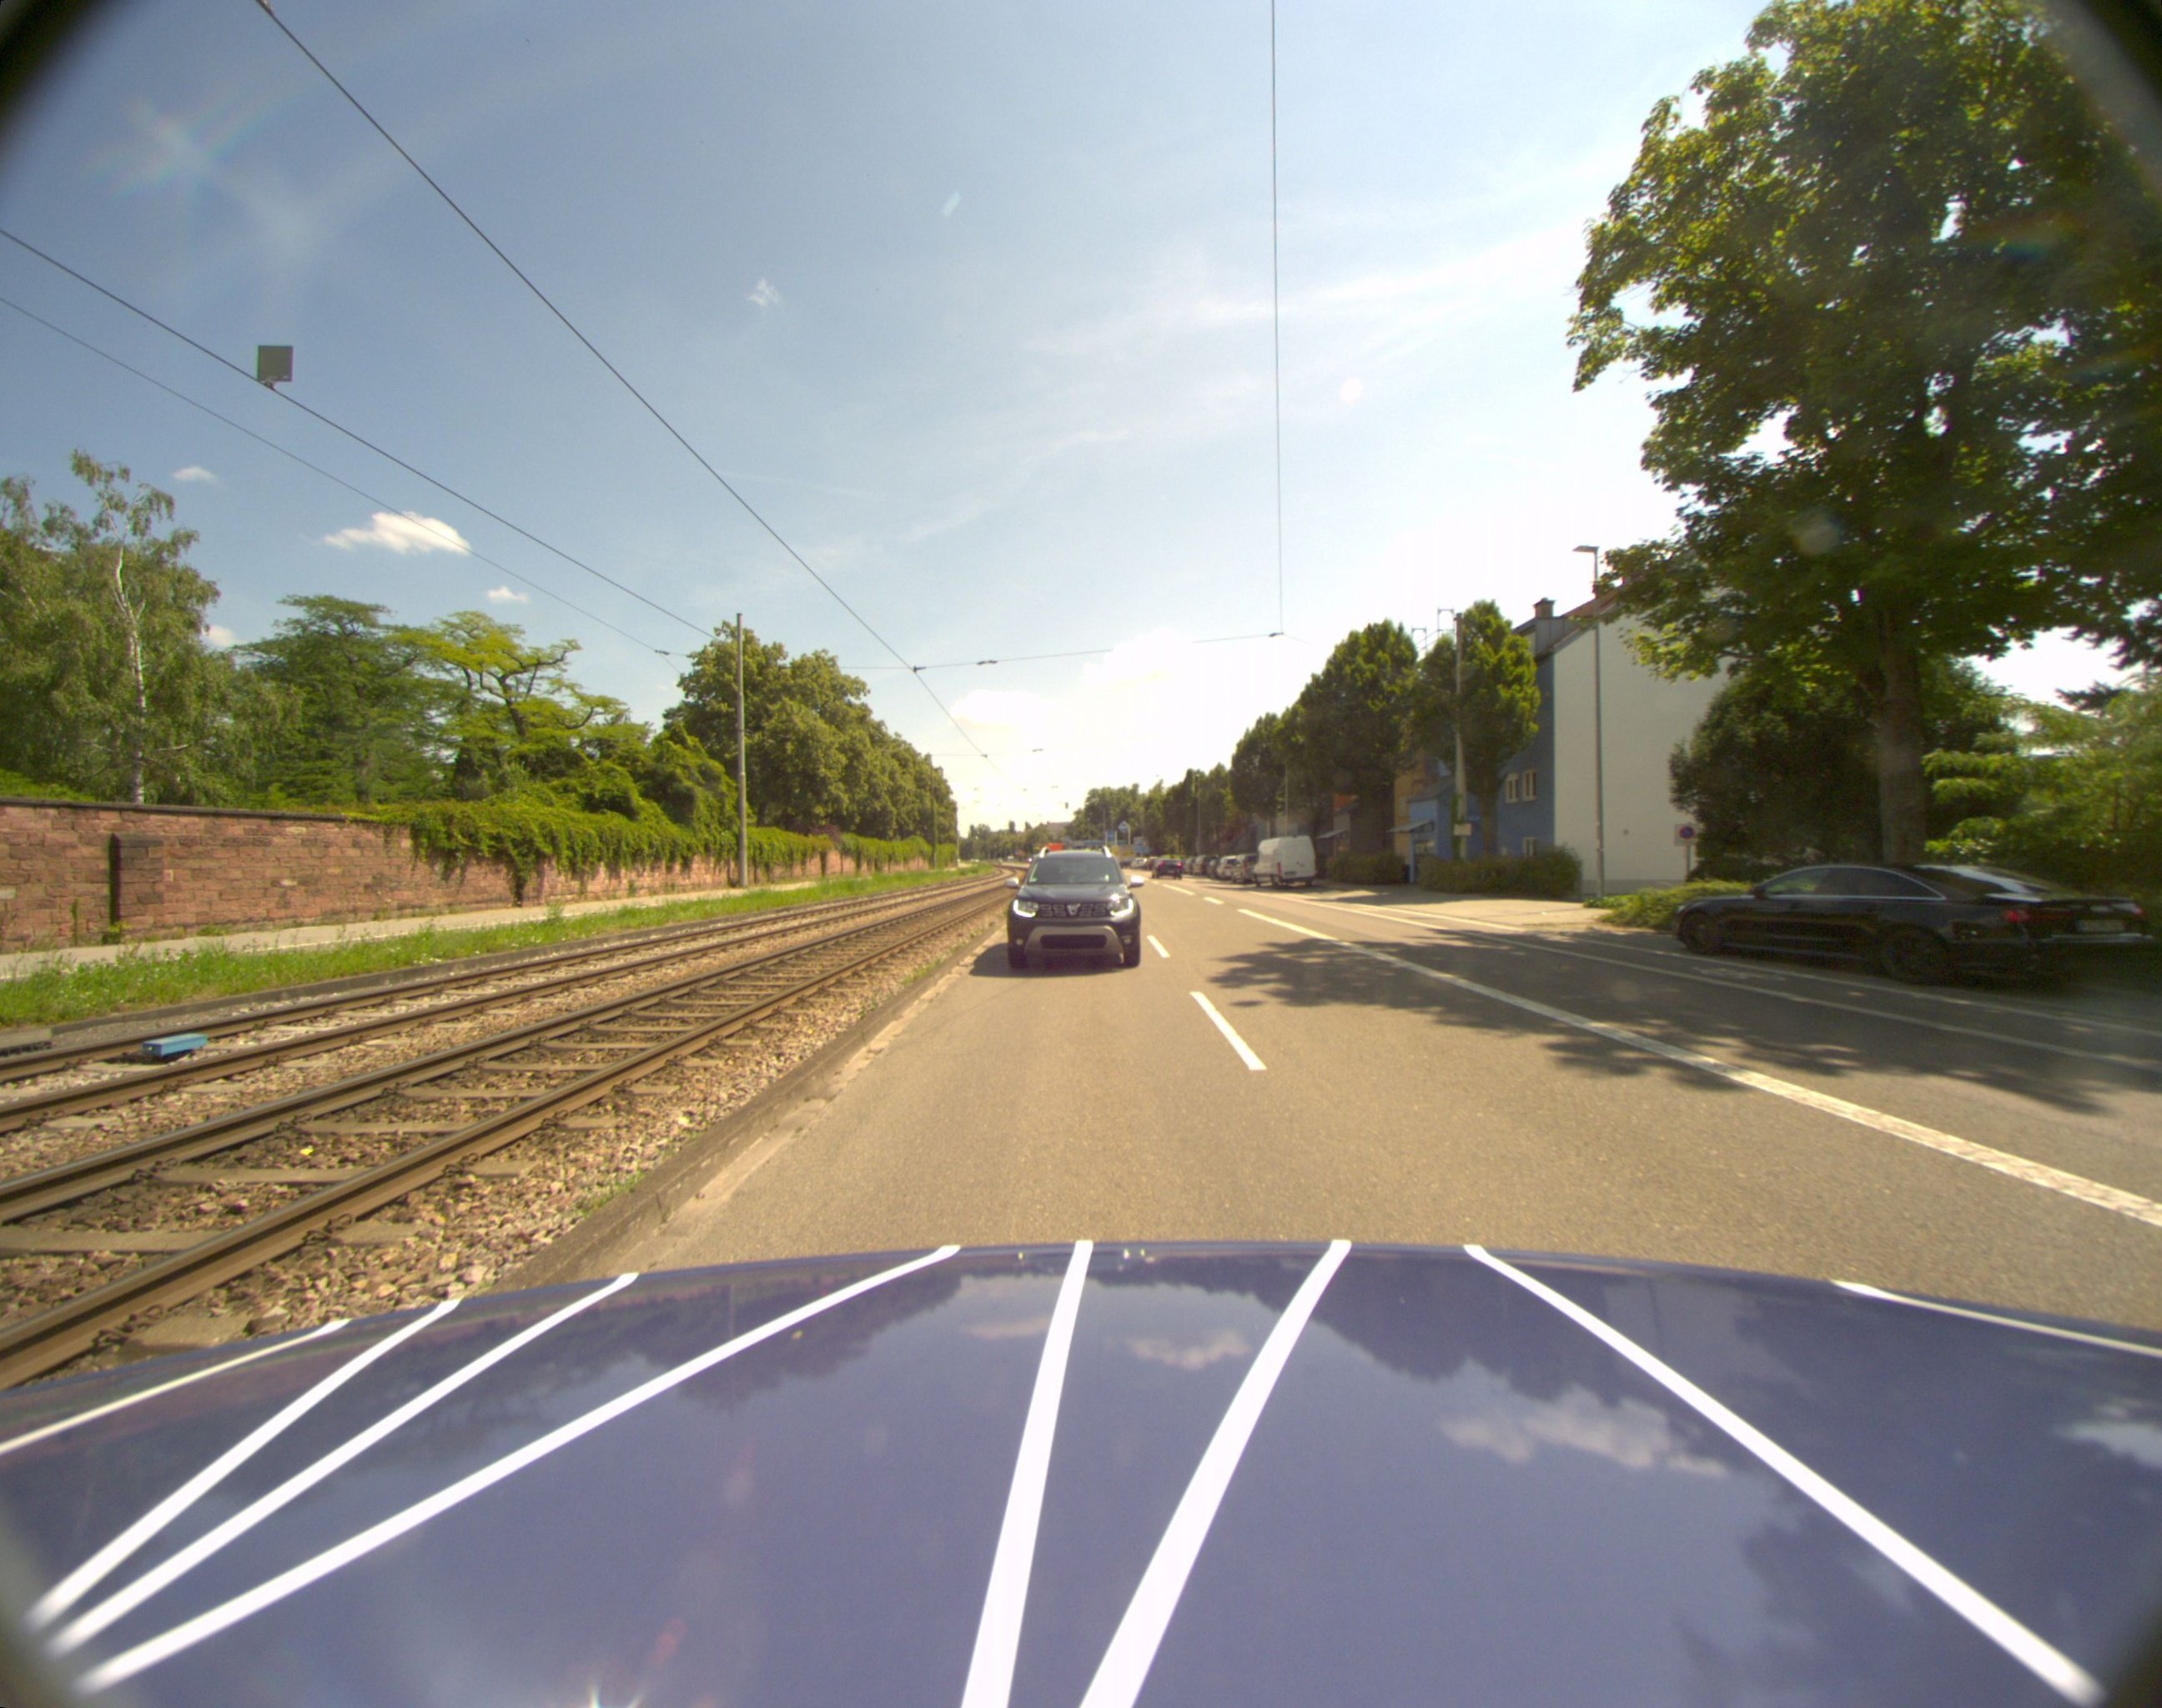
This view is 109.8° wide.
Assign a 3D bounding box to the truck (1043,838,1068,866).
[{"bbox_3d":[-3.610,-0.284,105.677,2.847,3.574,8.700,-1,0,-6],"label":"truck"}]

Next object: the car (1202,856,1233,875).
[{"bbox_3d":[10.843,0.879,60.588,1.603,1.462,4.086,-1,0,-2],"label":"car"}]

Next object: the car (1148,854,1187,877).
[{"bbox_3d":[6.007,0.771,52.923,1.780,1.451,4.192,1,0,-6],"label":"car"}]

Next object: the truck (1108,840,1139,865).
[{"bbox_3d":[6.345,-0.199,114.678,2.840,3.527,8.165,-3,0,-8],"label":"truck"}]

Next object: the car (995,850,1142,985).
[{"bbox_3d":[-0.112,0.800,11.922,1.801,1.652,4.788,-1,0,1],"label":"car"}]

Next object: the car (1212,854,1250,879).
[{"bbox_3d":[10.896,0.862,55.409,1.721,1.742,4.903,-2,0,0],"label":"car"}]

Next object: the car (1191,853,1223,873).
[{"bbox_3d":[10.850,0.762,65.735,1.756,1.706,4.887,0,0,-2],"label":"car"}]

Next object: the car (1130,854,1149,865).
[{"bbox_3d":[7.922,0.710,102.842,1.661,1.402,4.394,0,0,-8],"label":"car"}]

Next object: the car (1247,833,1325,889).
[{"bbox_3d":[11.051,0.353,41.545,2.329,2.635,7.035,-4,0,1],"label":"car"}]

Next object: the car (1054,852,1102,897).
[{"bbox_3d":[-0.148,0.772,30.940,1.802,1.683,4.144,-1,0,-1],"label":"car"}]

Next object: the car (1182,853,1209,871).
[{"bbox_3d":[10.715,0.749,71.182,1.660,1.608,4.283,0,1,-3],"label":"car"}]

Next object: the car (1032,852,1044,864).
[{"bbox_3d":[-7.700,0.646,135.248,1.999,2.002,3.997,-1,1,-6],"label":"car"}]

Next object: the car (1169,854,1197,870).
[{"bbox_3d":[10.333,0.784,77.309,1.746,1.438,4.962,-2,0,-4],"label":"car"}]

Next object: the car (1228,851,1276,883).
[{"bbox_3d":[11.002,0.818,49.250,1.811,1.884,5.362,-3,0,0],"label":"car"}]

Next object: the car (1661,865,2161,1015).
[{"bbox_3d":[10.545,0.914,10.202,1.779,1.447,4.803,-1,0,-1],"label":"car"}]

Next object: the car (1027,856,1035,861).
[{"bbox_3d":[-15.219,1.349,231.285,2.000,1.379,3.998,0,0,-7],"label":"car"}]

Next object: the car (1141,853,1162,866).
[{"bbox_3d":[8.781,0.653,94.384,1.661,1.600,4.171,-1,0,-8],"label":"car"}]
